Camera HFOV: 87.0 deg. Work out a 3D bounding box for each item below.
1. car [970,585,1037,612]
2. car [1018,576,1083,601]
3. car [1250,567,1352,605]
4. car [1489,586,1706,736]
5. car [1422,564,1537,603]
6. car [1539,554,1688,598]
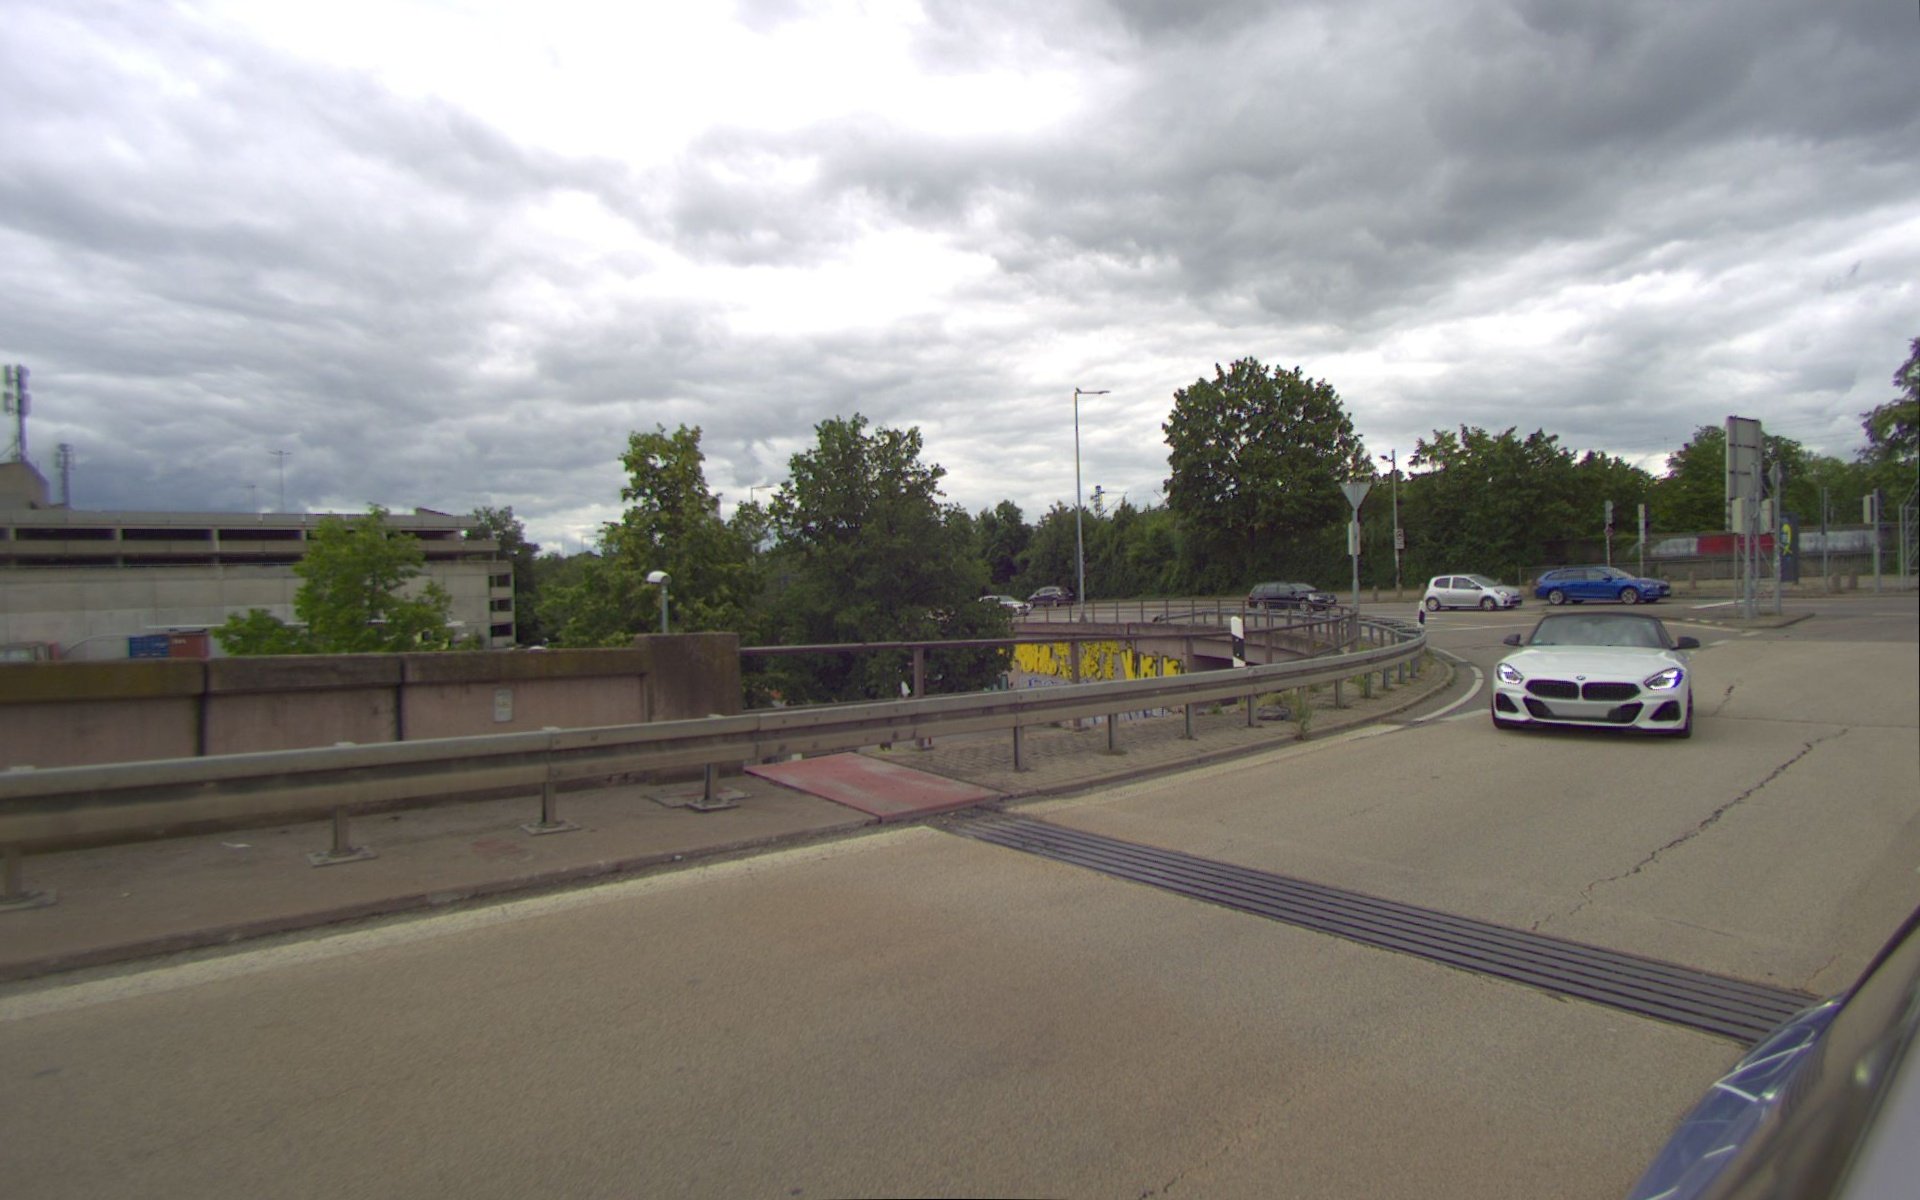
[{"bbox_3d":[2.920,-0.067,68.379,1.844,1.580,4.711,-4,1,-38],"label":"car"},{"bbox_3d":[7.370,-0.941,82.667,2.095,1.777,5.489,-4,1,-36],"label":"car"},{"bbox_3d":[16.327,-0.643,48.588,1.912,1.575,4.295,-4,1,-34],"label":"car"},{"bbox_3d":[7.869,0.587,12.309,1.852,1.361,4.763,-2,1,36],"label":"car"},{"bbox_3d":[20.746,-0.641,40.554,1.598,1.391,3.750,-4,1,-33],"label":"car"},{"bbox_3d":[25.093,-0.904,39.019,1.579,1.472,4.545,-4,2,-31],"label":"car"}]
